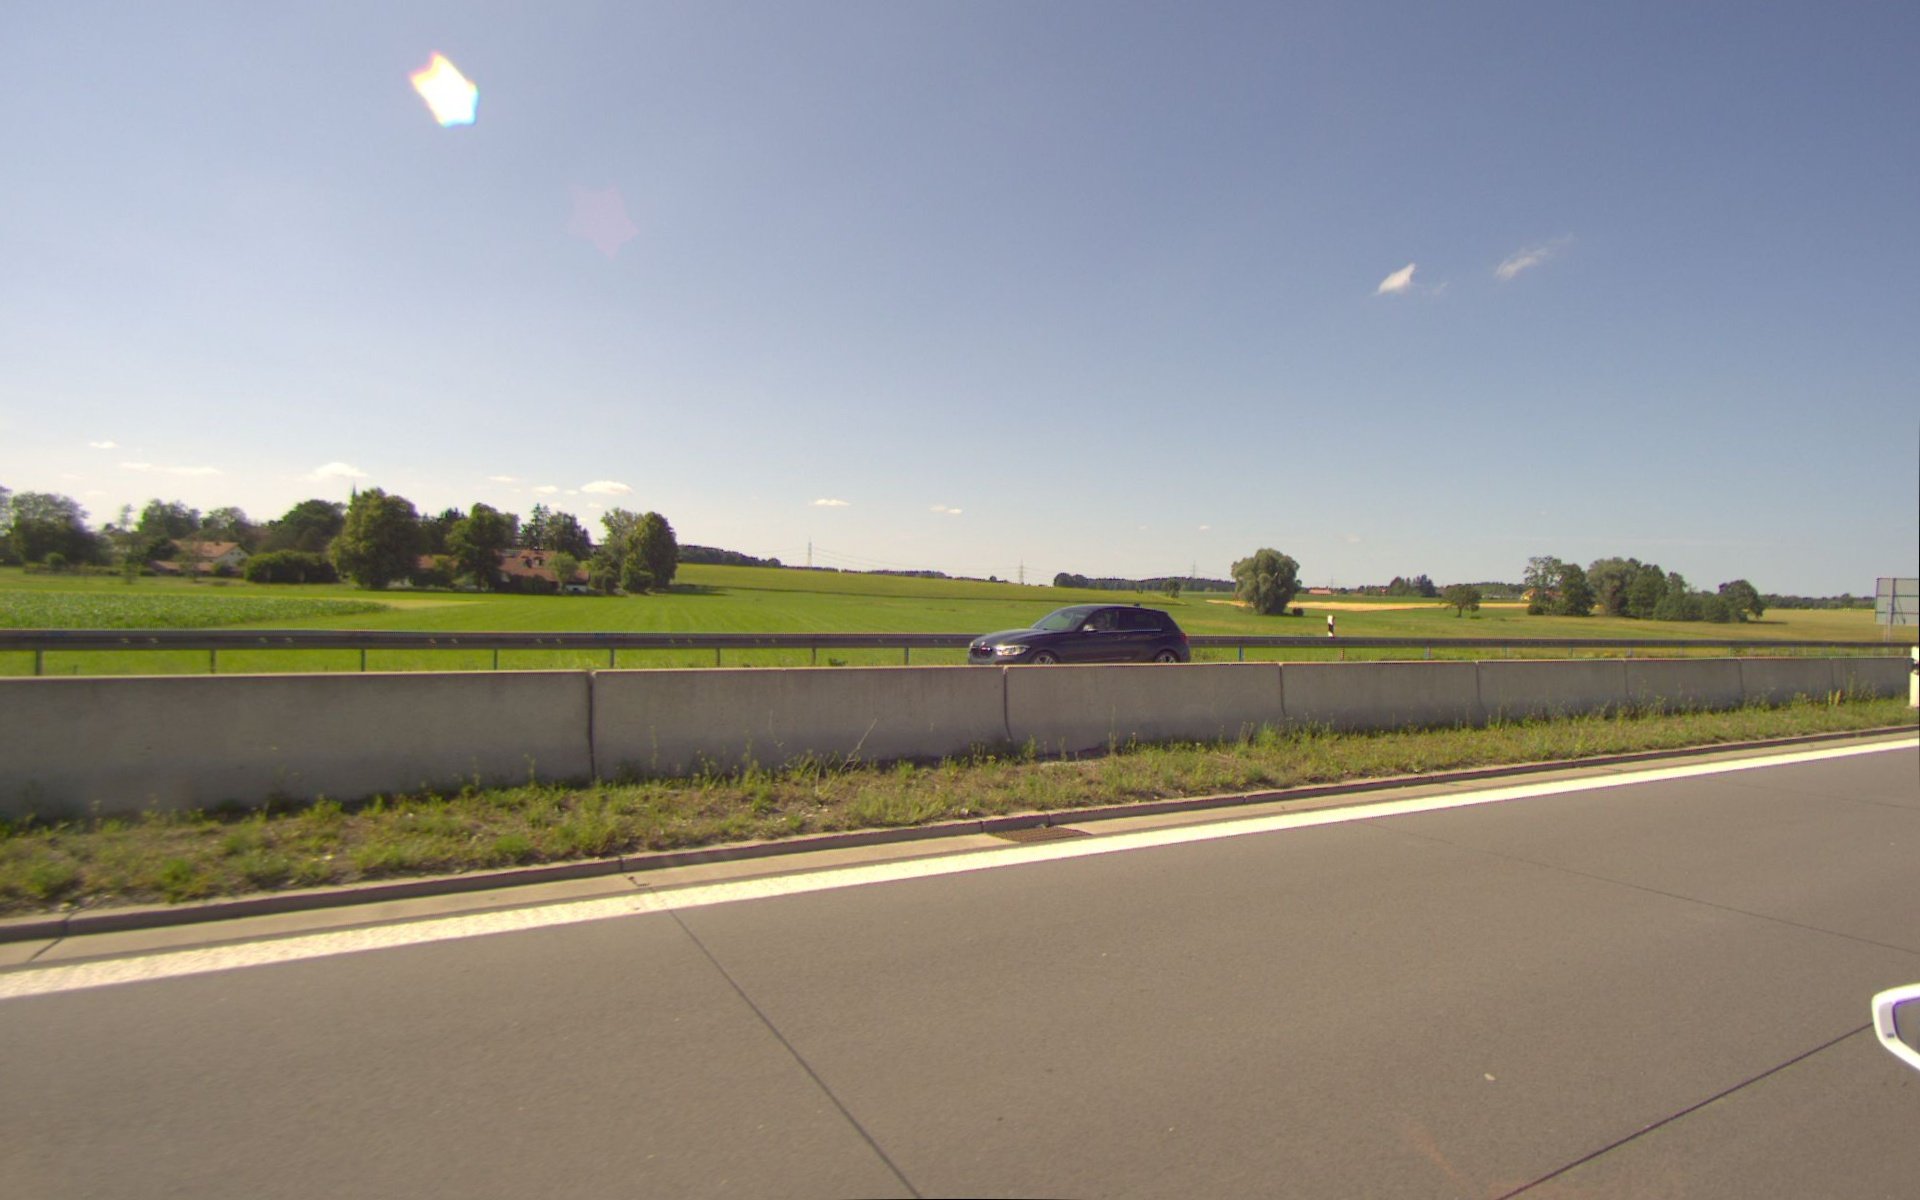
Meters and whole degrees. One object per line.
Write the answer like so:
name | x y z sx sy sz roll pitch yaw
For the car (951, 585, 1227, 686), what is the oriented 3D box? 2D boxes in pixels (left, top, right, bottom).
car | 2.394 0.611 18.094 4.859 1.606 1.848 1 -1 -32
